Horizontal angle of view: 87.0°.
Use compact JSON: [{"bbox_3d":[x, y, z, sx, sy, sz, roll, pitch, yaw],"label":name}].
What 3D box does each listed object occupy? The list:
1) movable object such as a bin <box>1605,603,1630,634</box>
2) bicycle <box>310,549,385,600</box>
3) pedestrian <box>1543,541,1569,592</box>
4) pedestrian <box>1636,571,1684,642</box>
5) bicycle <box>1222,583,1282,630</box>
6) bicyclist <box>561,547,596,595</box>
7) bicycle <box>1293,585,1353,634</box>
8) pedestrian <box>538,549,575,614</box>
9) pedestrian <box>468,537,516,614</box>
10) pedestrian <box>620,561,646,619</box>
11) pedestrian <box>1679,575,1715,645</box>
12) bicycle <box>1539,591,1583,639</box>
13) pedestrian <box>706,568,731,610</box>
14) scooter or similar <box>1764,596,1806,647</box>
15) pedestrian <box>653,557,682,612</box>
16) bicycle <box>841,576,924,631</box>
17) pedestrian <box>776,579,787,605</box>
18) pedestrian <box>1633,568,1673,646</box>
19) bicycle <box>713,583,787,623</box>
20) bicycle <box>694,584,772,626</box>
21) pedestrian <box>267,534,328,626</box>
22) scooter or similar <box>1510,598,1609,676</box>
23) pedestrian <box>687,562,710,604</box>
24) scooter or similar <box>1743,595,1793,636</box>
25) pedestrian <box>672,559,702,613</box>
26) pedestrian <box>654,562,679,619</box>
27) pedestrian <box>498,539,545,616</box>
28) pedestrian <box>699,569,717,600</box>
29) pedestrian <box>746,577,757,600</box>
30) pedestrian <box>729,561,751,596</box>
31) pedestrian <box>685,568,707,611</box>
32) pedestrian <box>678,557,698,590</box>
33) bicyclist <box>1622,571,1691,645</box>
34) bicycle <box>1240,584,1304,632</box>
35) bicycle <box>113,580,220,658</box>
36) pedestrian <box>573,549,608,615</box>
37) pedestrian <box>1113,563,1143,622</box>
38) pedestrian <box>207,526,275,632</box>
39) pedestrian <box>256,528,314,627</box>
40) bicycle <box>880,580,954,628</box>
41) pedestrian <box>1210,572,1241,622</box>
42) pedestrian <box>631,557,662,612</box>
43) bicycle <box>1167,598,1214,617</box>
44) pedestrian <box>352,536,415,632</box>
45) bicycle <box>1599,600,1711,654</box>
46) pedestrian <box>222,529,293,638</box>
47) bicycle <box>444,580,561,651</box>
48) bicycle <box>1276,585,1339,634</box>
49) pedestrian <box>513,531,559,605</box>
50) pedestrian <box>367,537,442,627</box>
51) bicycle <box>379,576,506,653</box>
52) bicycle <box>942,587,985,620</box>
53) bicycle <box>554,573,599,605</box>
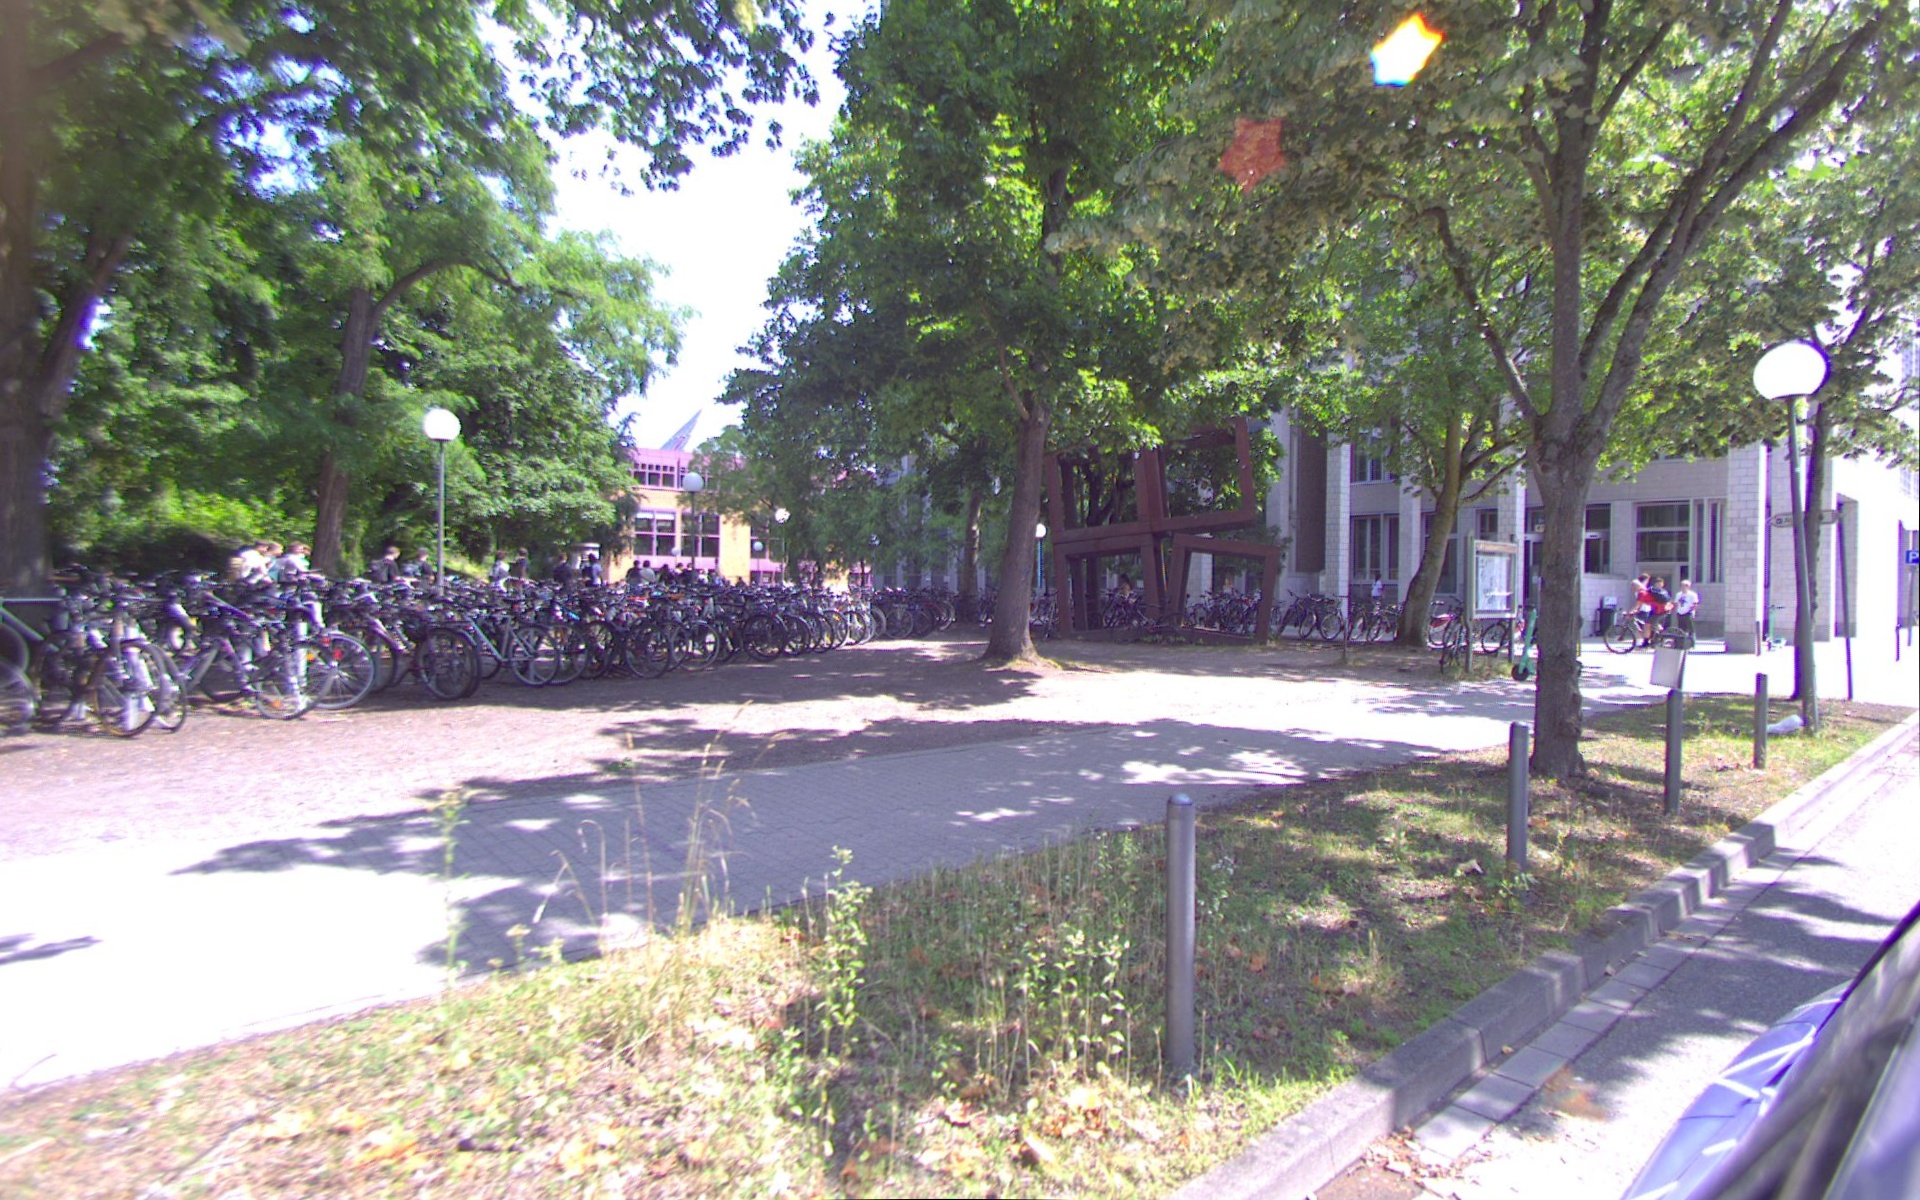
[{"bbox_3d":[21.462,0.608,33.047,0.503,0.961,0.512,1,3,-43],"label":"movable object such as a bin"},{"bbox_3d":[-14.123,-0.595,23.337,1.586,1.107,0.477,2,1,12],"label":"bicycle"},{"bbox_3d":[21.038,-1.178,35.719,0.687,1.756,0.675,1,0,41],"label":"pedestrian"},{"bbox_3d":[18.240,0.165,26.376,0.796,1.819,0.619,1,1,6],"label":"pedestrian"},{"bbox_3d":[7.624,0.179,26.387,1.666,1.165,0.627,2,1,-40],"label":"bicycle"},{"bbox_3d":[-11.999,-0.898,31.820,0.732,1.465,0.802,1,0,6],"label":"bicyclist"},{"bbox_3d":[8.886,0.248,24.765,1.664,1.139,0.482,2,1,-36],"label":"bicycle"},{"bbox_3d":[-11.346,-0.516,28.456,0.730,1.797,0.721,1,0,-3],"label":"pedestrian"},{"bbox_3d":[-11.183,-0.575,24.184,0.732,1.797,0.719,1,0,9],"label":"pedestrian"},{"bbox_3d":[-10.303,-0.311,31.915,0.729,1.797,0.722,1,0,-15],"label":"pedestrian"},{"bbox_3d":[18.744,0.238,25.751,0.533,1.751,0.613,0,1,-40],"label":"pedestrian"},{"bbox_3d":[16.578,0.402,27.895,1.798,1.257,0.531,-1,2,-42],"label":"bicycle"},{"bbox_3d":[-9.219,-0.426,38.672,0.731,1.589,0.721,1,0,1],"label":"pedestrian"},{"bbox_3d":[21.072,0.525,25.843,1.485,1.226,0.564,0,3,-42],"label":"scooter or similar"},{"bbox_3d":[-9.821,-0.505,33.972,0.824,1.797,0.994,1,0,-11],"label":"pedestrian"},{"bbox_3d":[-1.742,0.062,22.888,1.816,1.185,0.412,1,0,11],"label":"bicycle"},{"bbox_3d":[-8.431,-0.392,47.862,0.379,1.228,0.403,1,0,-33],"label":"pedestrian"},{"bbox_3d":[17.424,0.167,25.446,0.675,1.914,0.685,-1,1,-44],"label":"pedestrian"},{"bbox_3d":[-5.580,0.081,26.983,1.868,0.991,0.479,1,1,0],"label":"bicycle"},{"bbox_3d":[-5.770,0.121,25.707,1.871,0.991,0.478,2,1,6],"label":"bicycle"},{"bbox_3d":[-13.315,-0.406,20.349,0.737,1.797,0.715,1,0,24],"label":"pedestrian"},{"bbox_3d":[9.217,0.565,15.554,1.333,1.128,0.498,2,0,-16],"label":"scooter or similar"},{"bbox_3d":[-9.989,-0.651,38.669,0.730,1.589,0.721,1,0,-4],"label":"pedestrian"},{"bbox_3d":[25.675,0.478,32.181,0.555,1.226,1.507,0,2,8],"label":"scooter or similar"},{"bbox_3d":[-9.212,-0.474,34.138,0.837,1.797,0.813,1,0,-7],"label":"pedestrian"},{"bbox_3d":[-9.326,-0.303,32.203,0.729,1.797,0.722,1,0,-15],"label":"pedestrian"},{"bbox_3d":[-10.427,-0.529,24.067,0.732,1.797,0.719,1,0,9],"label":"pedestrian"},{"bbox_3d":[-12.668,-0.790,50.926,0.679,1.530,0.514,3,2,6],"label":"pedestrian"},{"bbox_3d":[-13.378,-0.723,64.919,0.445,1.446,0.594,3,2,11],"label":"pedestrian"},{"bbox_3d":[-10.102,-0.989,46.423,0.730,1.589,0.721,1,0,-33],"label":"pedestrian"},{"bbox_3d":[-11.362,-0.468,43.545,0.730,1.812,0.721,1,0,-1],"label":"pedestrian"},{"bbox_3d":[-13.169,-1.268,48.989,0.730,1.589,0.721,1,0,-33],"label":"pedestrian"},{"bbox_3d":[15.650,0.177,22.744,0.822,1.562,0.960,3,2,-34],"label":"bicyclist"},{"bbox_3d":[7.945,0.201,25.724,1.664,1.139,0.628,2,1,-36],"label":"bicycle"},{"bbox_3d":[-11.049,0.250,14.080,1.863,0.991,0.304,2,2,23],"label":"bicycle"},{"bbox_3d":[-10.401,-0.506,28.504,0.730,1.797,0.721,1,0,-3],"label":"pedestrian"},{"bbox_3d":[4.964,-0.208,29.954,0.427,1.725,0.929,-1,-1,44],"label":"pedestrian"},{"bbox_3d":[-12.538,-0.365,17.660,0.739,1.797,0.713,1,0,31],"label":"pedestrian"},{"bbox_3d":[-12.621,-0.421,18.936,0.742,1.797,0.710,1,0,41],"label":"pedestrian"},{"bbox_3d":[-1.103,0.102,25.988,1.818,1.185,0.434,1,0,15],"label":"bicycle"},{"bbox_3d":[9.560,-0.108,36.385,0.930,1.762,0.741,0,0,30],"label":"pedestrian"},{"bbox_3d":[-10.412,-0.521,33.619,0.824,1.797,0.994,1,0,-11],"label":"pedestrian"},{"bbox_3d":[10.133,0.315,44.454,0.633,0.769,1.986,2,1,-43],"label":"bicycle"},{"bbox_3d":[-11.112,-0.311,19.523,0.735,1.797,0.717,1,0,18],"label":"pedestrian"},{"bbox_3d":[15.619,0.586,22.784,0.803,1.054,1.933,-4,3,-32],"label":"bicycle"},{"bbox_3d":[-11.864,-0.281,17.100,0.738,1.797,0.713,1,0,30],"label":"pedestrian"},{"bbox_3d":[-7.616,0.236,16.854,1.875,1.096,0.477,2,1,14],"label":"bicycle"},{"bbox_3d":[8.678,0.238,25.254,1.664,1.139,0.566,2,1,-36],"label":"bicycle"},{"bbox_3d":[-10.397,-0.778,24.844,0.735,1.797,0.717,1,0,18],"label":"pedestrian"},{"bbox_3d":[-11.469,-0.366,20.903,0.954,1.797,0.963,1,0,27],"label":"pedestrian"},{"bbox_3d":[-7.937,0.208,15.529,1.875,1.096,0.477,2,1,14],"label":"bicycle"},{"bbox_3d":[0.137,0.132,34.836,0.477,1.098,1.661,-2,-3,44],"label":"bicycle"},{"bbox_3d":[-12.027,-0.356,31.813,0.576,0.942,1.750,3,2,6],"label":"bicycle"}]
